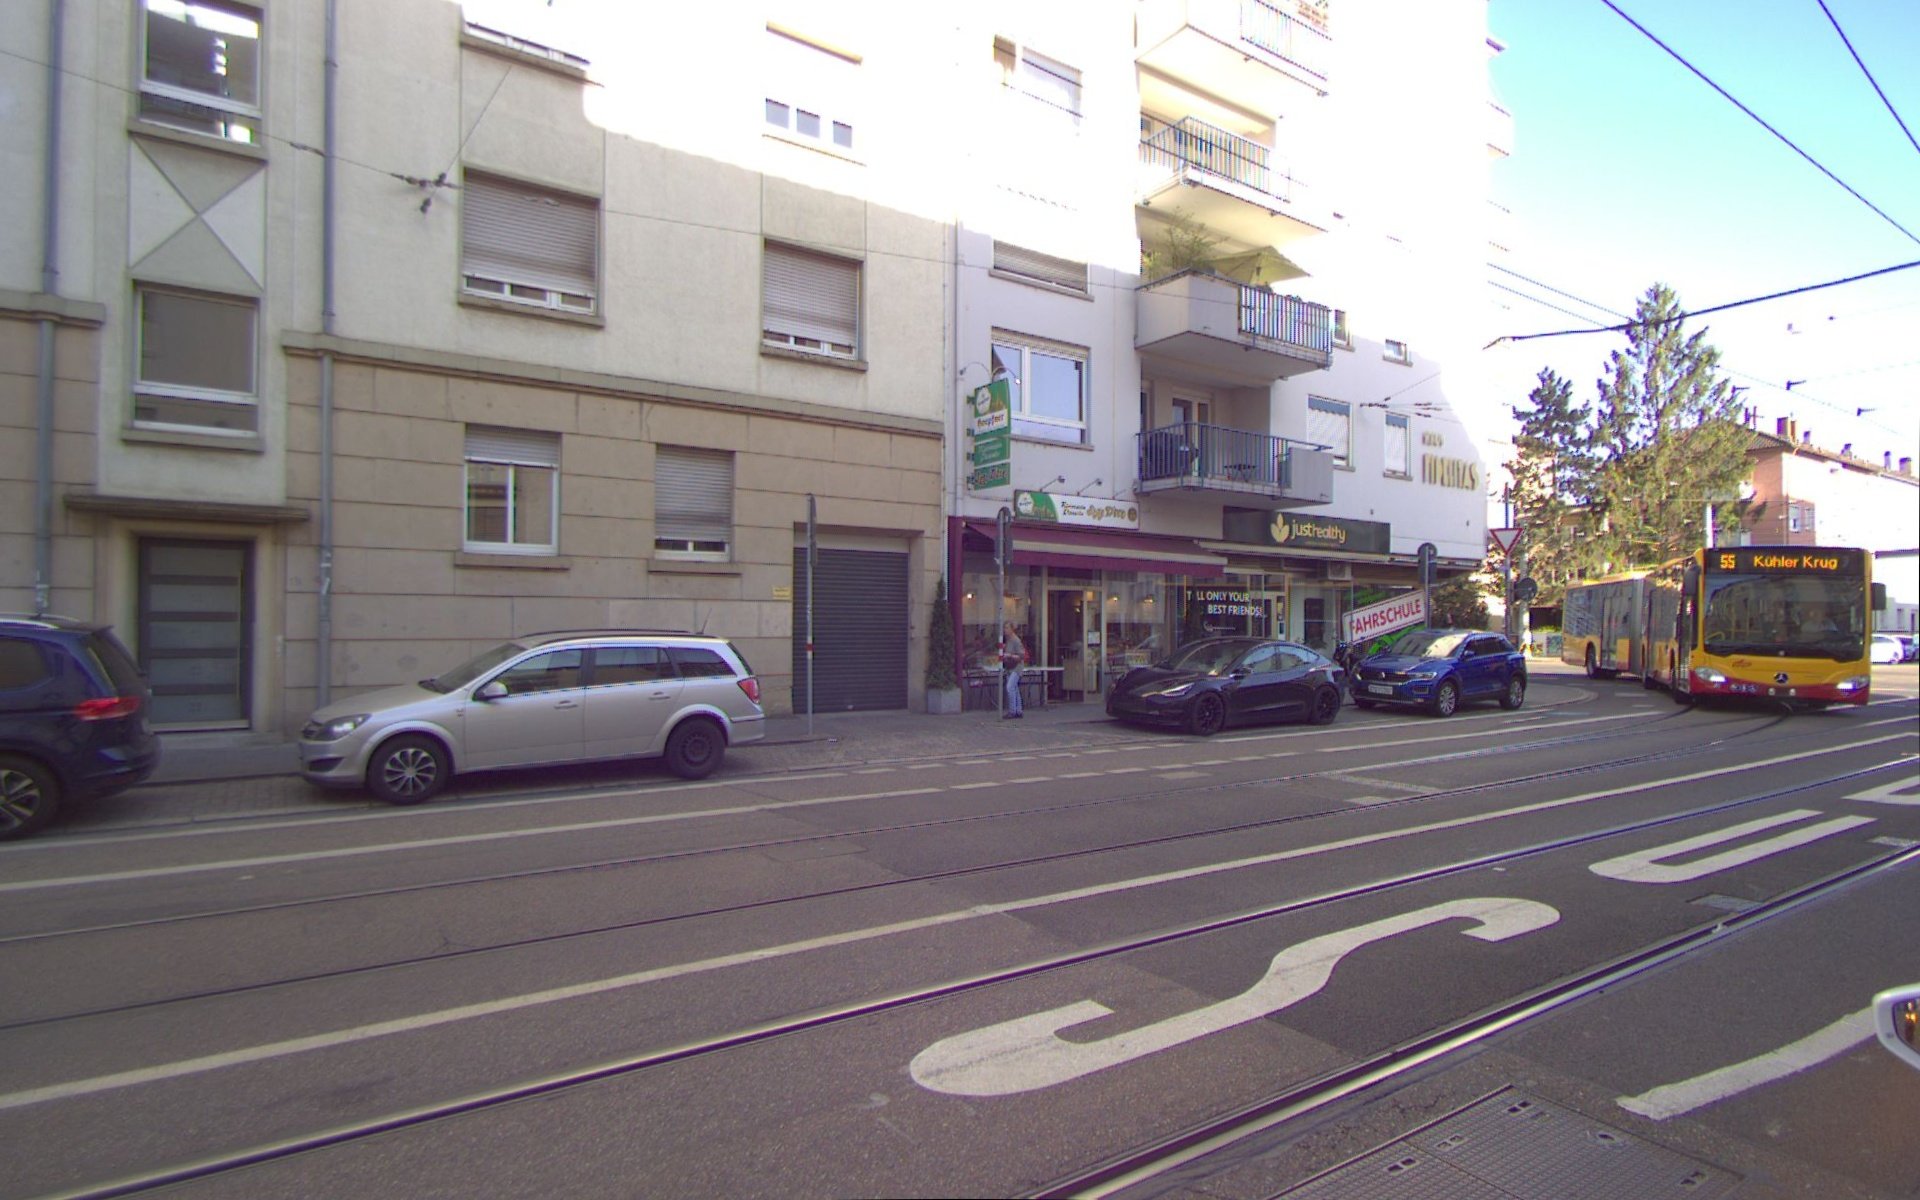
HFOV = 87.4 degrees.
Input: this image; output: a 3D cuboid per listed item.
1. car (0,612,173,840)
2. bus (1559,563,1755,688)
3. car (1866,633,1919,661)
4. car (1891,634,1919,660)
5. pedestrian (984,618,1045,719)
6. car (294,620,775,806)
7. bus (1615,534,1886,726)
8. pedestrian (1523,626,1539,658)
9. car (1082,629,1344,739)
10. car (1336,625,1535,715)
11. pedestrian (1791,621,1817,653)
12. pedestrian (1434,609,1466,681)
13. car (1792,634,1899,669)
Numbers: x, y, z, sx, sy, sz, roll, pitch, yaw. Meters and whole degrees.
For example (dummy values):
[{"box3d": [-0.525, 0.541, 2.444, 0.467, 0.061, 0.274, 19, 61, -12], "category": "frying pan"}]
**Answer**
[{"box3d": [-8.557, 0.894, 7.358, 4.198, 1.637, 1.689, 2, -1, -33], "category": "car"}, {"box3d": [20.314, 0.770, 29.848, 2.692, 3.203, 7.580, 0, -2, 18], "category": "bus"}, {"box3d": [54.065, 2.683, 57.916, 3.960, 1.517, 1.899, 1, -2, -35], "category": "car"}, {"box3d": [57.864, 2.817, 60.476, 3.960, 1.517, 1.899, 1, -2, -35], "category": "car"}, {"box3d": [0.863, 1.080, 16.082, 0.713, 1.569, 0.694, 0, -1, -30], "category": "pedestrian"}, {"box3d": [-4.285, 1.032, 10.425, 4.341, 1.529, 1.689, 2, -1, -34], "category": "car"}, {"box3d": [16.538, 0.650, 21.906, 2.681, 3.200, 10.183, -1, -2, 27], "category": "bus"}, {"box3d": [32.720, 2.407, 57.568, 0.665, 1.858, 0.506, 1, -1, -30], "category": "pedestrian"}, {"box3d": [4.172, 1.285, 16.300, 4.267, 1.529, 1.689, 2, -1, -34], "category": "car"}, {"box3d": [9.259, 1.302, 19.469, 3.959, 1.529, 1.733, 2, -1, -35], "category": "car"}, {"box3d": [45.616, 2.000, 54.273, 0.728, 1.713, 0.840, 1, -1, -28], "category": "pedestrian"}, {"box3d": [14.222, 1.295, 29.145, 0.481, 2.040, 0.681, 1, -1, -36], "category": "pedestrian"}, {"box3d": [42.262, 2.451, 47.952, 4.330, 1.595, 1.849, 1, -1, -17], "category": "car"}]
